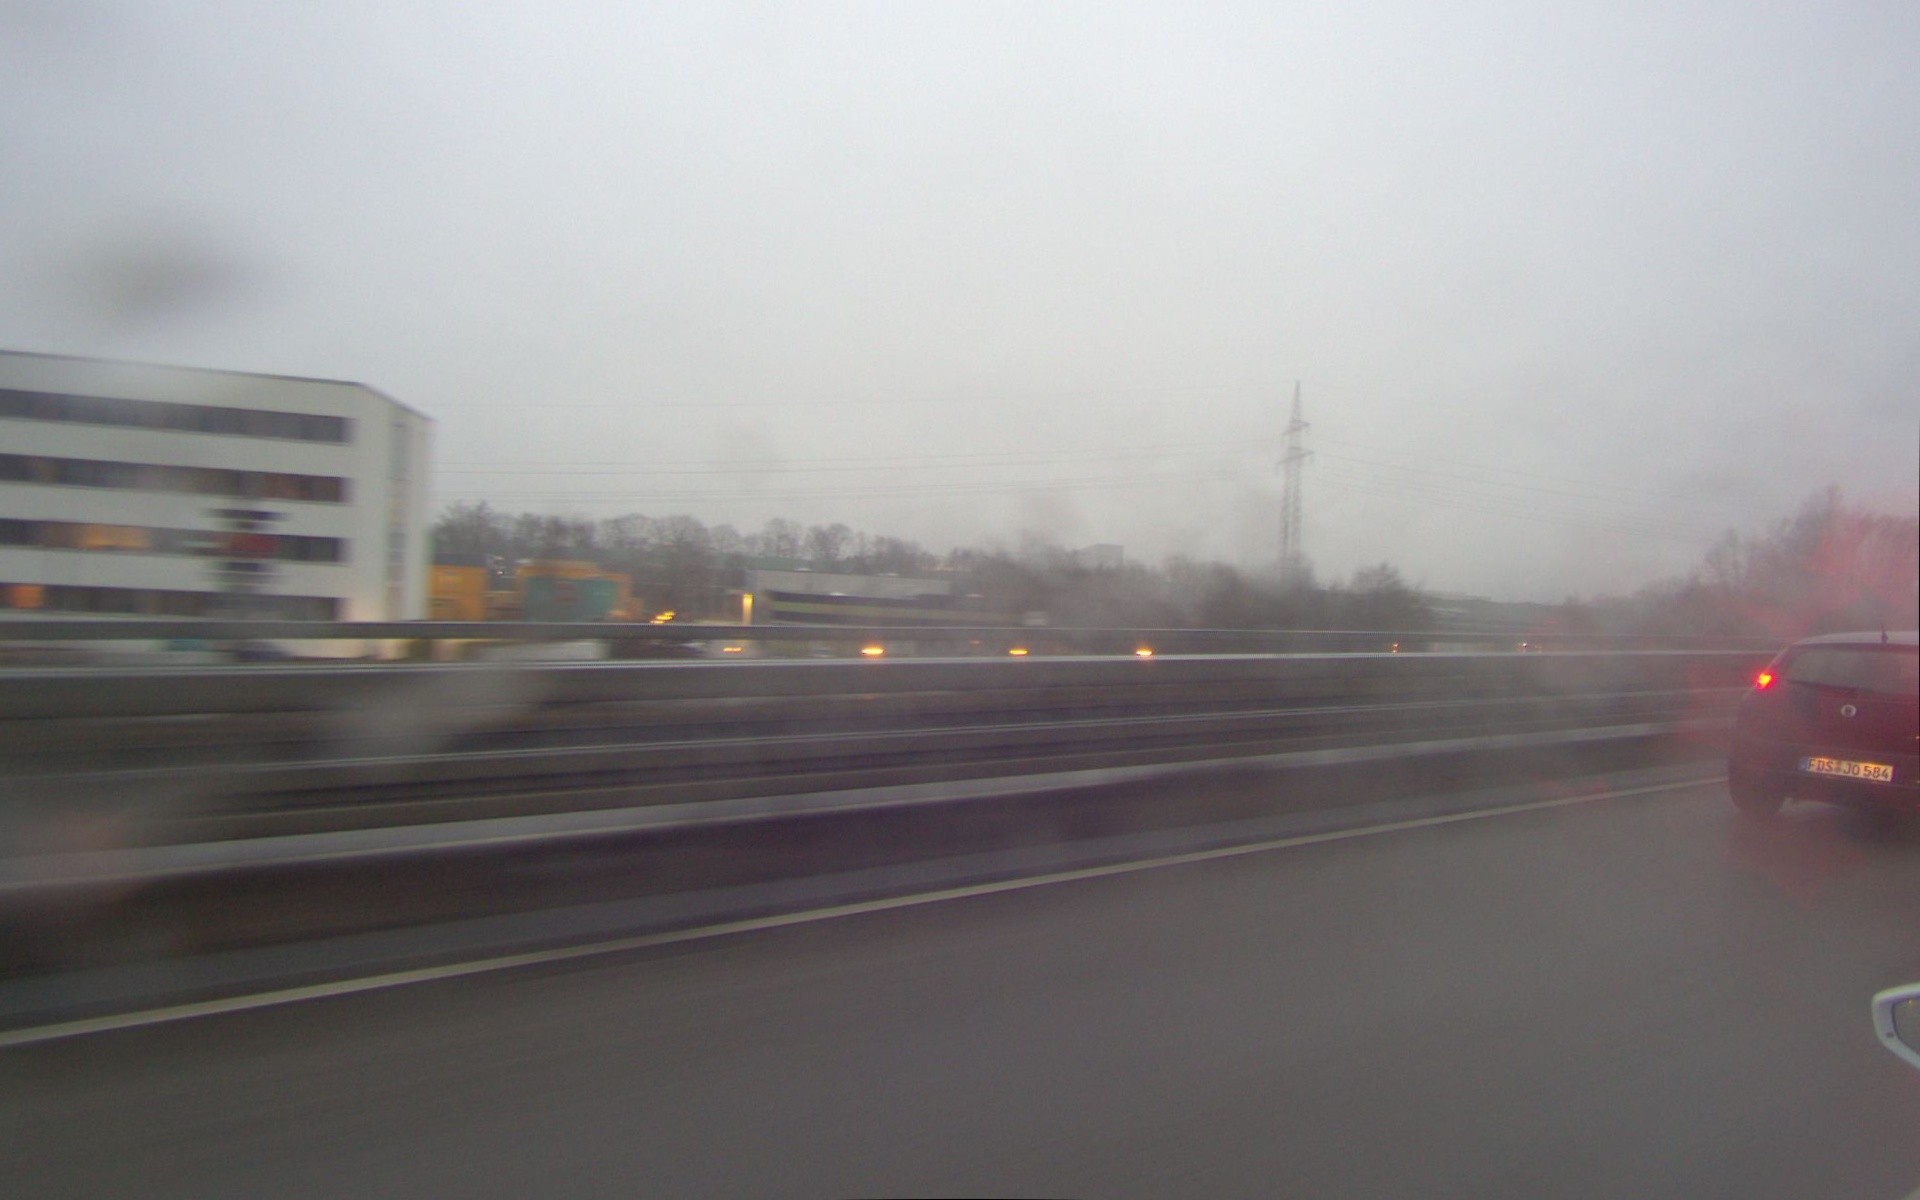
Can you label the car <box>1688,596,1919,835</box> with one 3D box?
[{"bbox_3d":[7.775,0.887,7.960,3.995,1.552,1.722,4,-2,-29],"label":"car"}]
